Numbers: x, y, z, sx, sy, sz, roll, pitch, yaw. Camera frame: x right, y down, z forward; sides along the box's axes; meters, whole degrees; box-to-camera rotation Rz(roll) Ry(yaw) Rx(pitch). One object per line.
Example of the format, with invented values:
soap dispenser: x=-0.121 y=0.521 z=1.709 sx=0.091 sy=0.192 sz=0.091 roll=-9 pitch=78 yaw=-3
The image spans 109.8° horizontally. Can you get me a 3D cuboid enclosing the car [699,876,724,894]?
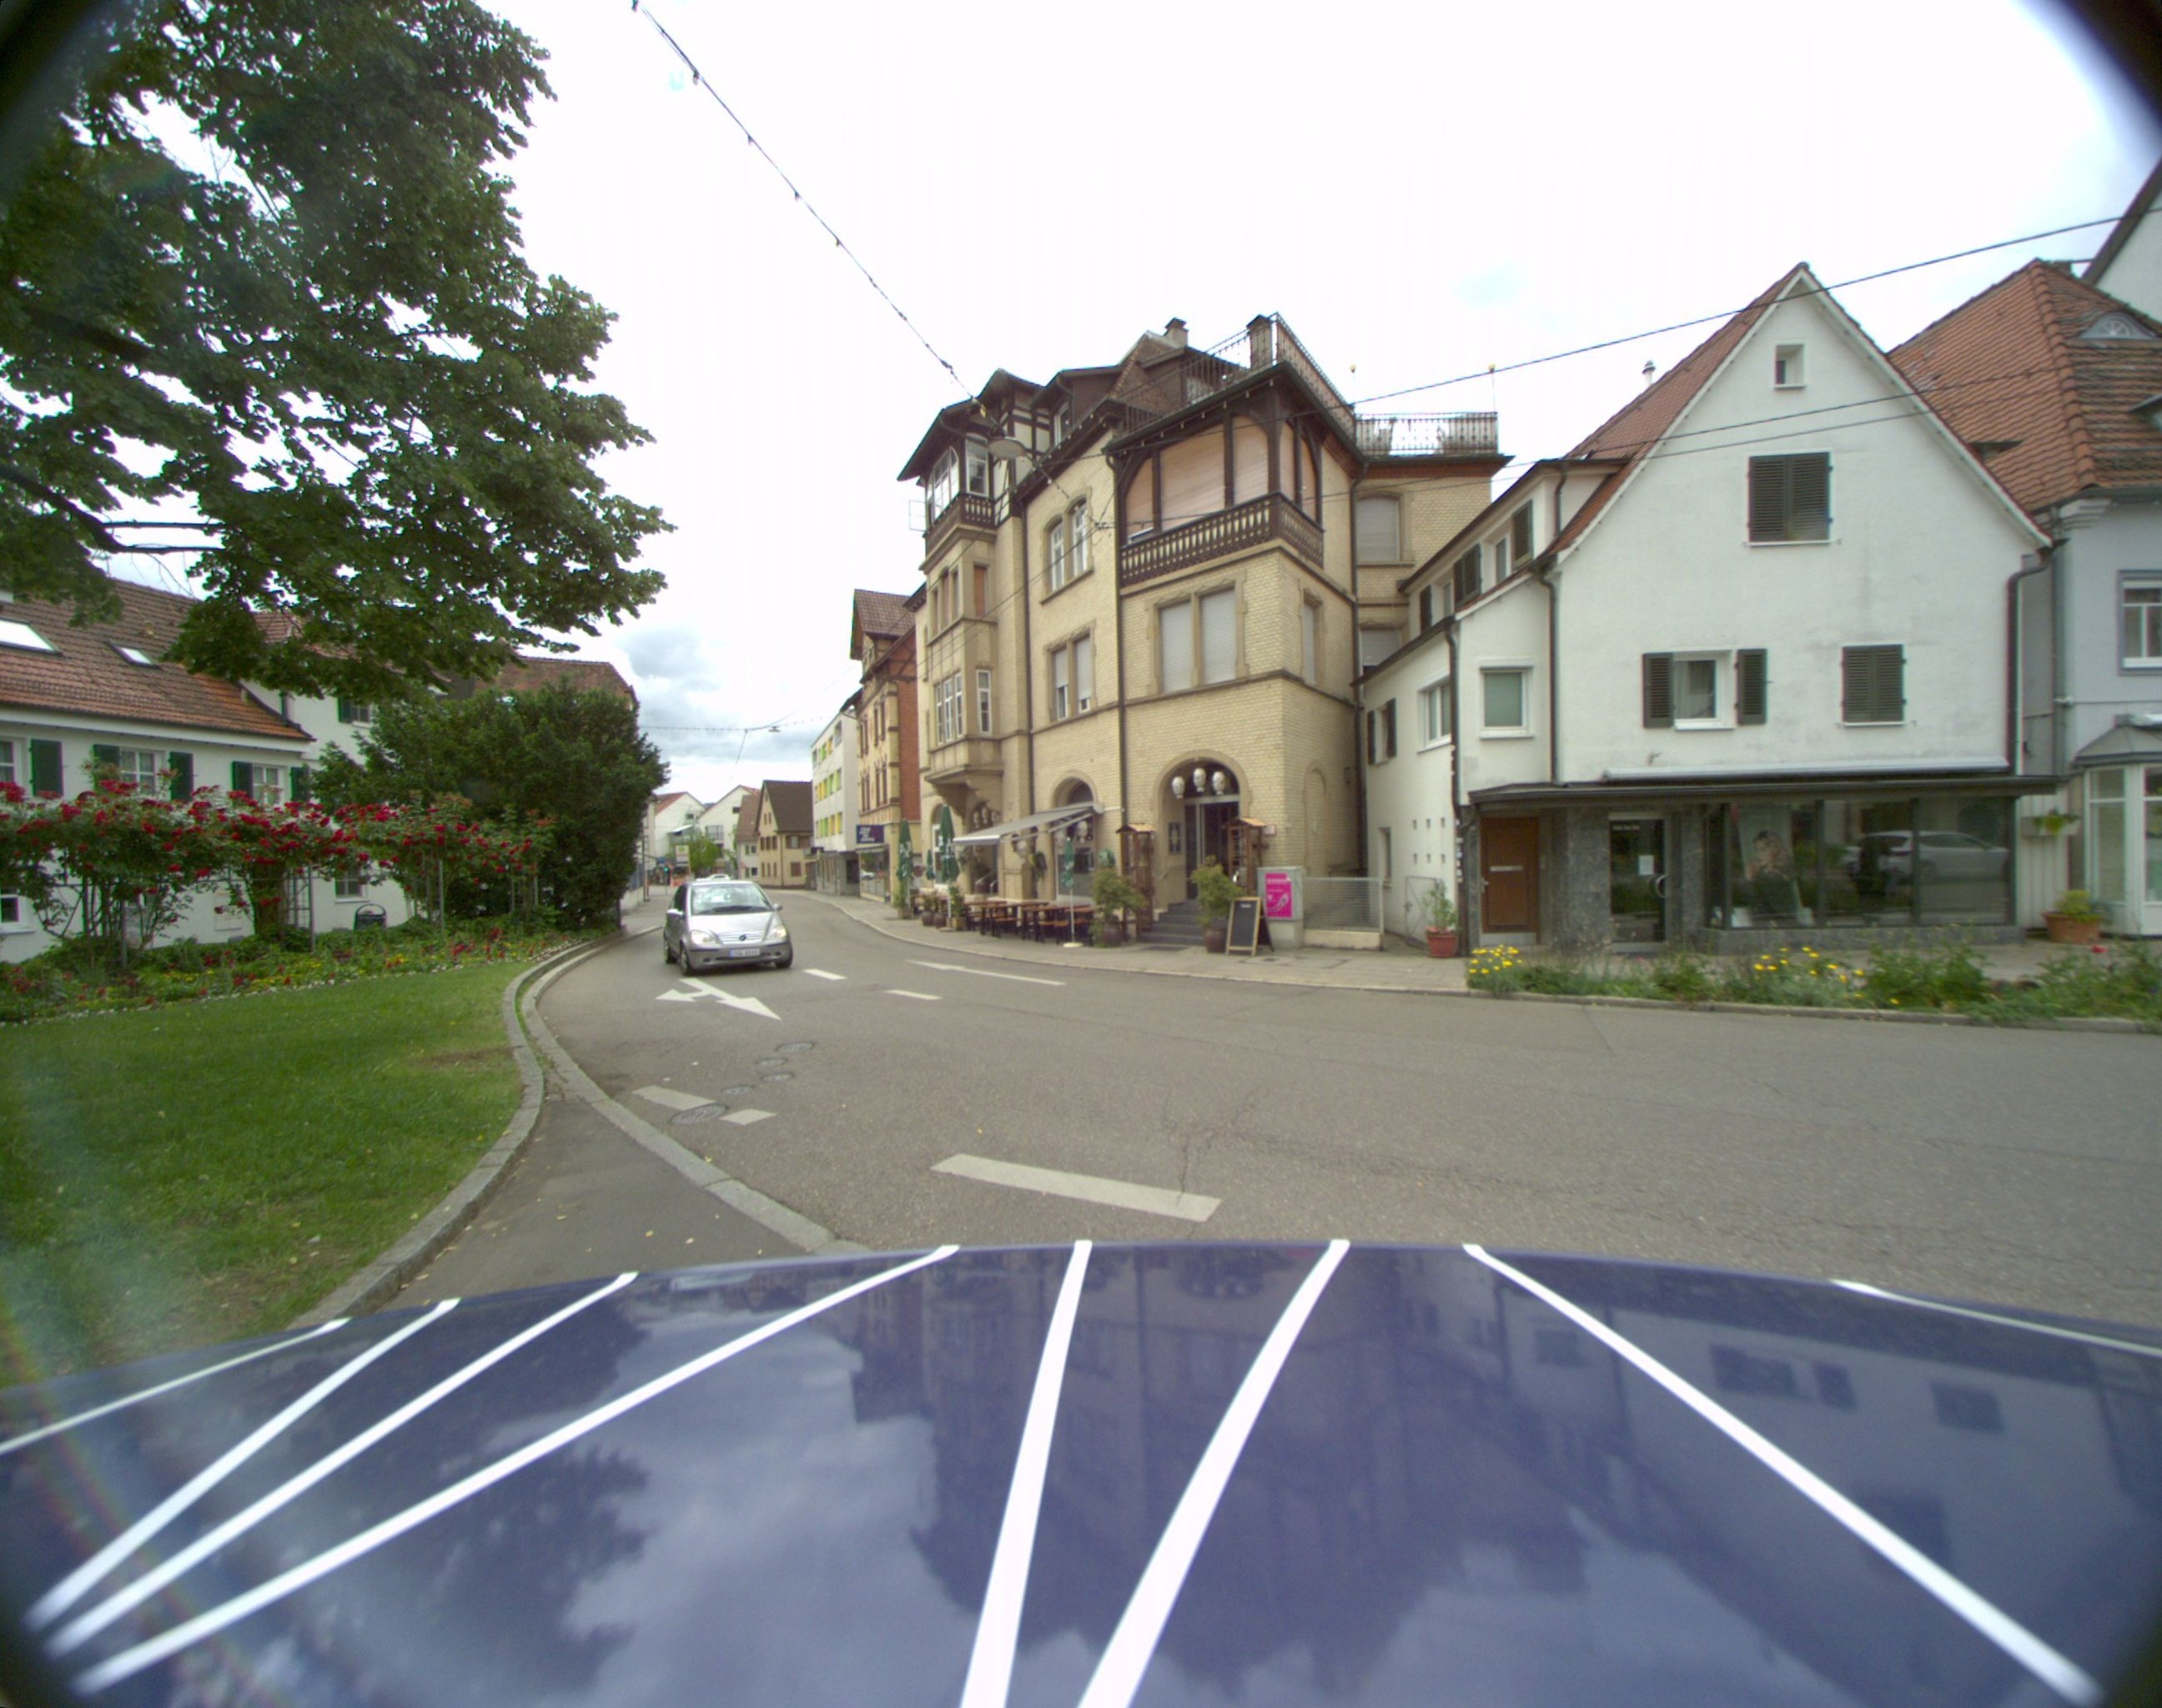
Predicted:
car: x=-36.559 y=3.029 z=75.103 sx=2.005 sy=1.618 sz=3.991 roll=-3 pitch=1 yaw=-28

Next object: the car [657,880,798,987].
car: x=-6.670 y=1.315 z=14.103 sx=1.899 sy=1.617 sz=3.991 roll=0 pitch=-1 yaw=-32

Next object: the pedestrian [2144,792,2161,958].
pedestrian: x=13.541 y=0.236 z=8.732 sx=1.013 sy=2.002 sz=1.106 roll=-2 pitch=0 yaw=5
